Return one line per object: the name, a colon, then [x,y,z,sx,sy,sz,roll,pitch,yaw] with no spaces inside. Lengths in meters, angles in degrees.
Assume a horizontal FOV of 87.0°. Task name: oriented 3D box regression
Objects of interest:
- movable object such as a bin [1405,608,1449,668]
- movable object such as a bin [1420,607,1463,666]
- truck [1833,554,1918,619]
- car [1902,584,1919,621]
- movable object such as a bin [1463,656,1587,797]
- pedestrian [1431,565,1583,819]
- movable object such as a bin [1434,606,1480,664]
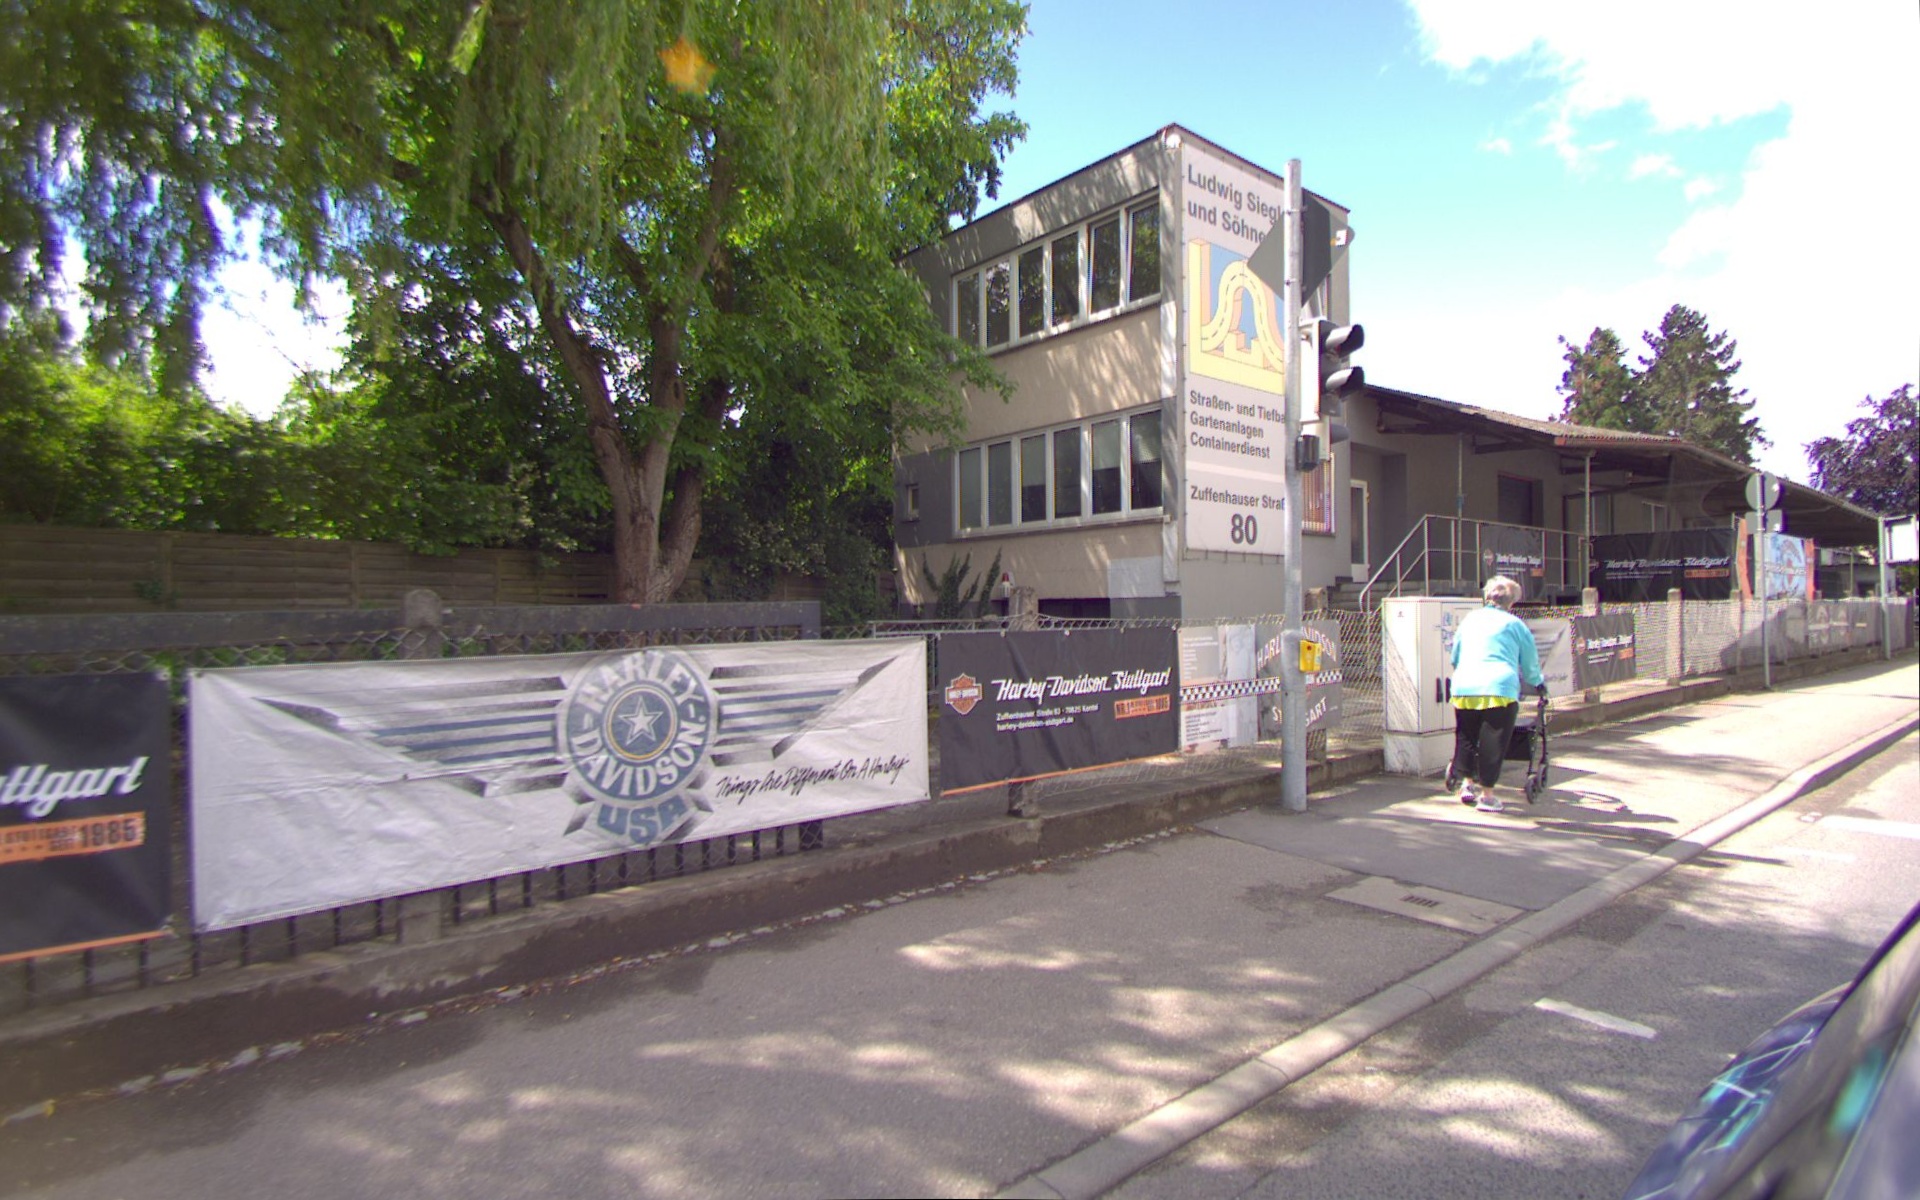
movable object such as a bin: [7.569,0.602,16.412,0.466,0.942,0.482,-1,-1,-40]
movable object such as a bin: [7.965,0.594,16.746,0.466,0.942,0.482,-1,-1,-40]
truck: [42.517,-0.609,46.957,5.109,2.864,2.090,-1,-1,-39]
car: [42.550,0.078,43.775,5.109,1.549,1.862,-1,0,-39]
movable object such as a bin: [4.054,0.872,7.255,0.667,0.883,0.738,-2,-1,37]
pedestrian: [3.685,0.568,6.807,0.730,1.563,0.829,-2,-1,39]
movable object such as a bin: [8.406,0.585,17.119,0.573,0.942,0.482,-1,-1,-40]
